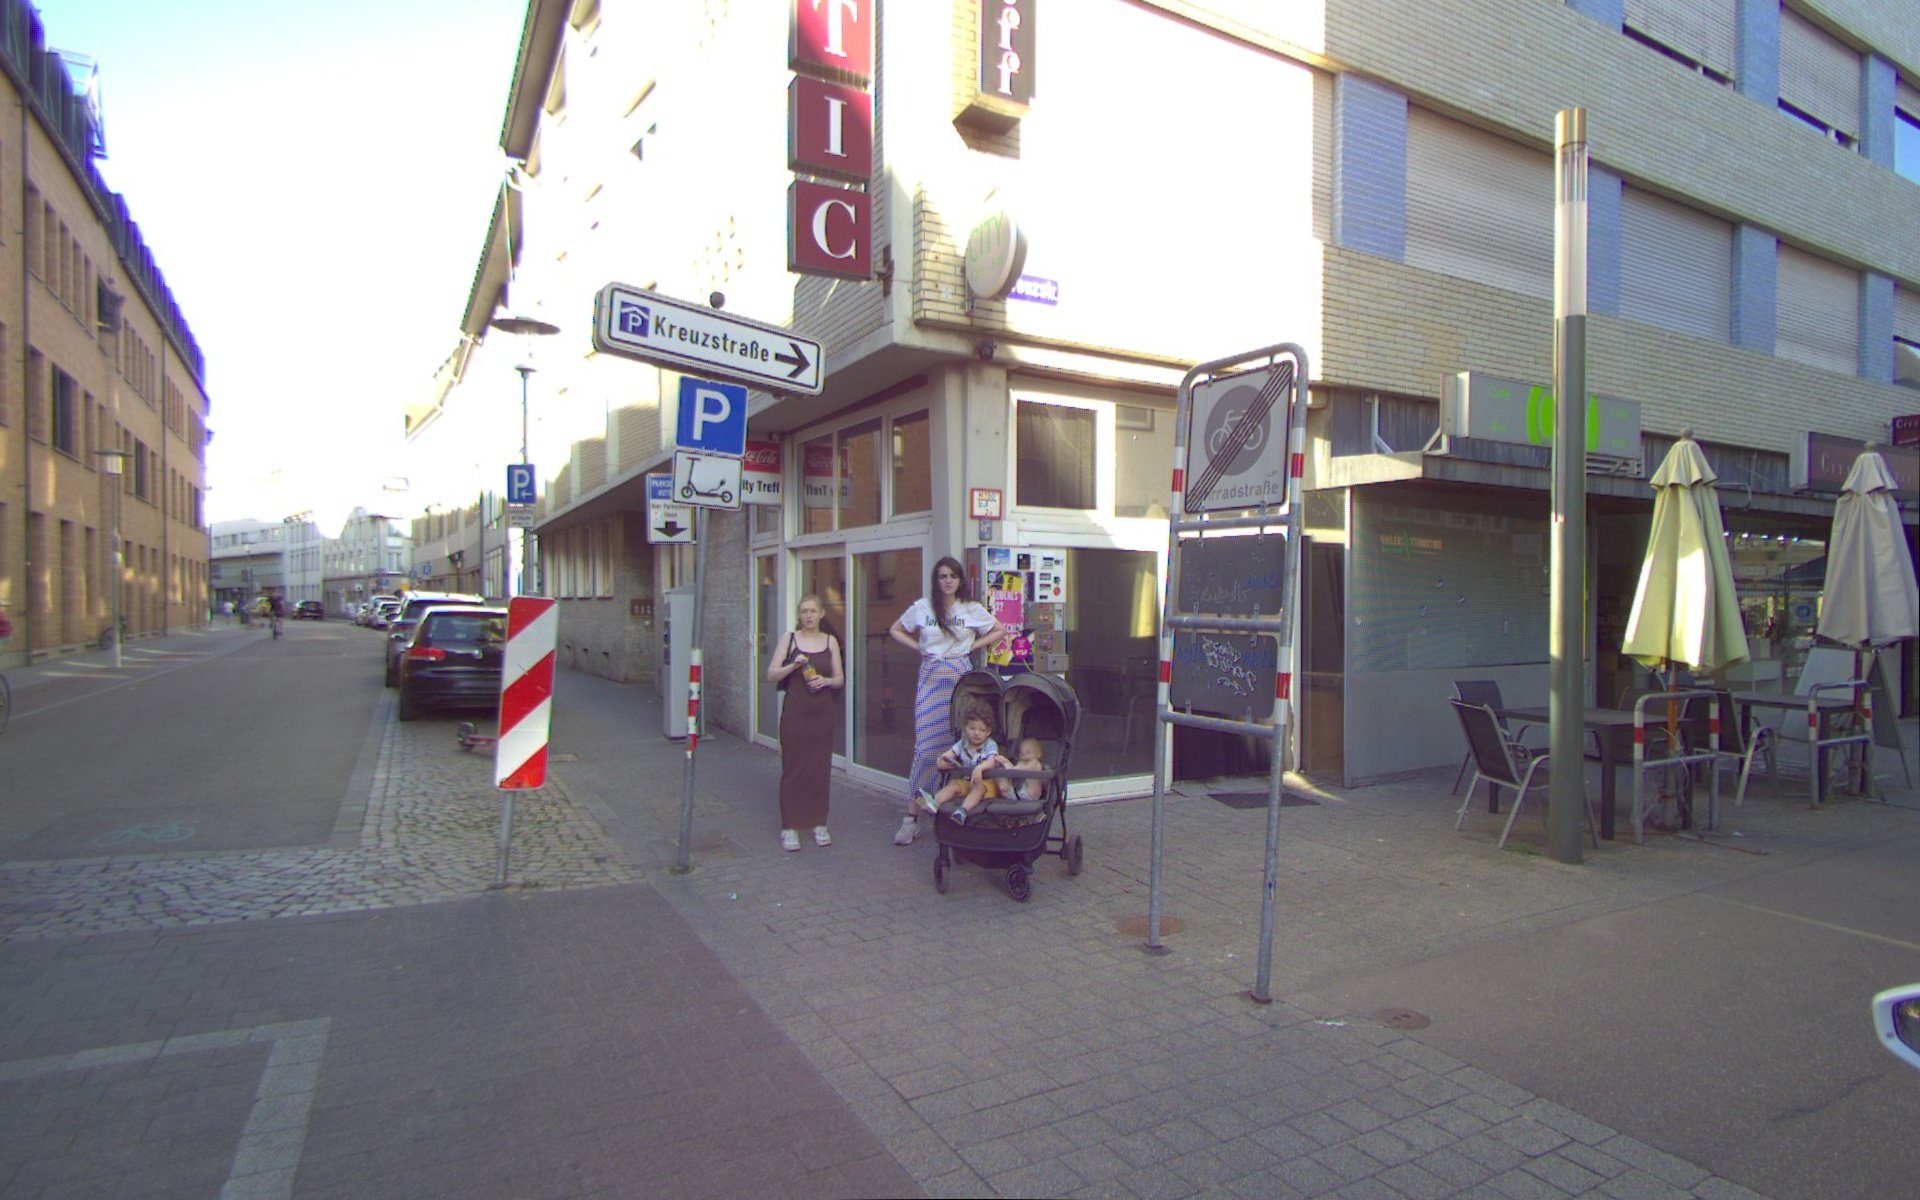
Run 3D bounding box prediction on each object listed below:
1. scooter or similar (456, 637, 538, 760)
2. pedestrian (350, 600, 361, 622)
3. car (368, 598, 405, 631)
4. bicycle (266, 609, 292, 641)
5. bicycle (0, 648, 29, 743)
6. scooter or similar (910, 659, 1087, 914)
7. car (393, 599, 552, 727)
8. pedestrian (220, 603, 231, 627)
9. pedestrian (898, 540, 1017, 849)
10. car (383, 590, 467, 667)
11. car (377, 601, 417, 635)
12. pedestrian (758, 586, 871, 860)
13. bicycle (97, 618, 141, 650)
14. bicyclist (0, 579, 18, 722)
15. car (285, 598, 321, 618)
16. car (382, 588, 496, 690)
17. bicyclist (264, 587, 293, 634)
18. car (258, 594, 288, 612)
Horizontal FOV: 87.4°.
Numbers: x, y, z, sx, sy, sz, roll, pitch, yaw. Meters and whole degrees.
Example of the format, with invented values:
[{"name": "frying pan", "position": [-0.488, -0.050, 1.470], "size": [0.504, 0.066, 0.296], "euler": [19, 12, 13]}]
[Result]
[{"name": "scooter or similar", "position": [-4.682, 0.981, 10.160], "size": [0.865, 1.199, 0.208], "euler": [0, 0, 21]}, {"name": "pedestrian", "position": [-40.773, 0.751, 67.729], "size": [0.566, 1.499, 0.469], "euler": [0, 0, -37]}, {"name": "car", "position": [-33.342, 0.852, 58.353], "size": [1.675, 1.798, 3.625], "euler": [3, -2, -31]}, {"name": "bicycle", "position": [-25.471, 0.913, 37.556], "size": [0.698, 1.118, 1.809], "euler": [-4, 2, -35]}, {"name": "bicycle", "position": [-10.406, 1.028, 10.620], "size": [0.431, 0.970, 1.579], "euler": [0, 0, -28]}, {"name": "scooter or similar", "position": [0.241, 0.938, 5.417], "size": [0.783, 1.159, 0.954], "euler": [0, 1, 13]}, {"name": "car", "position": [-6.935, 0.794, 14.117], "size": [1.720, 1.505, 3.781], "euler": [3, -1, -29]}, {"name": "pedestrian", "position": [-48.556, 0.988, 66.423], "size": [0.537, 1.565, 0.402], "euler": [1, 0, -31]}, {"name": "pedestrian", "position": [-0.012, 0.572, 6.359], "size": [0.647, 1.844, 0.571], "euler": [-2, 1, 0]}, {"name": "car", "position": [-13.345, 0.690, 25.007], "size": [1.654, 1.727, 3.981], "euler": [3, -2, -29]}, {"name": "car", "position": [-30.086, 0.943, 53.633], "size": [1.675, 1.701, 3.478], "euler": [3, -2, -31]}, {"name": "pedestrian", "position": [-0.916, 0.729, 6.265], "size": [0.526, 1.601, 0.508], "euler": [-3, 1, -23]}, {"name": "bicycle", "position": [-25.254, 1.014, 30.193], "size": [0.636, 0.893, 2.534], "euler": [1, -1, -32]}, {"name": "bicyclist", "position": [-10.406, 0.543, 10.598], "size": [0.423, 1.518, 0.869], "euler": [-2, 1, -29]}, {"name": "car", "position": [-56.531, 0.659, 86.410], "size": [1.922, 1.673, 3.788], "euler": [0, 0, -43]}, {"name": "car", "position": [-9.768, 0.697, 18.749], "size": [1.654, 1.683, 4.049], "euler": [3, -2, -29]}, {"name": "bicyclist", "position": [-25.474, 0.389, 37.558], "size": [0.766, 1.678, 0.946], "euler": [-3, 1, -38]}, {"name": "car", "position": [-67.457, 0.276, 98.624], "size": [1.922, 1.673, 3.788], "euler": [2, -1, -43]}]
